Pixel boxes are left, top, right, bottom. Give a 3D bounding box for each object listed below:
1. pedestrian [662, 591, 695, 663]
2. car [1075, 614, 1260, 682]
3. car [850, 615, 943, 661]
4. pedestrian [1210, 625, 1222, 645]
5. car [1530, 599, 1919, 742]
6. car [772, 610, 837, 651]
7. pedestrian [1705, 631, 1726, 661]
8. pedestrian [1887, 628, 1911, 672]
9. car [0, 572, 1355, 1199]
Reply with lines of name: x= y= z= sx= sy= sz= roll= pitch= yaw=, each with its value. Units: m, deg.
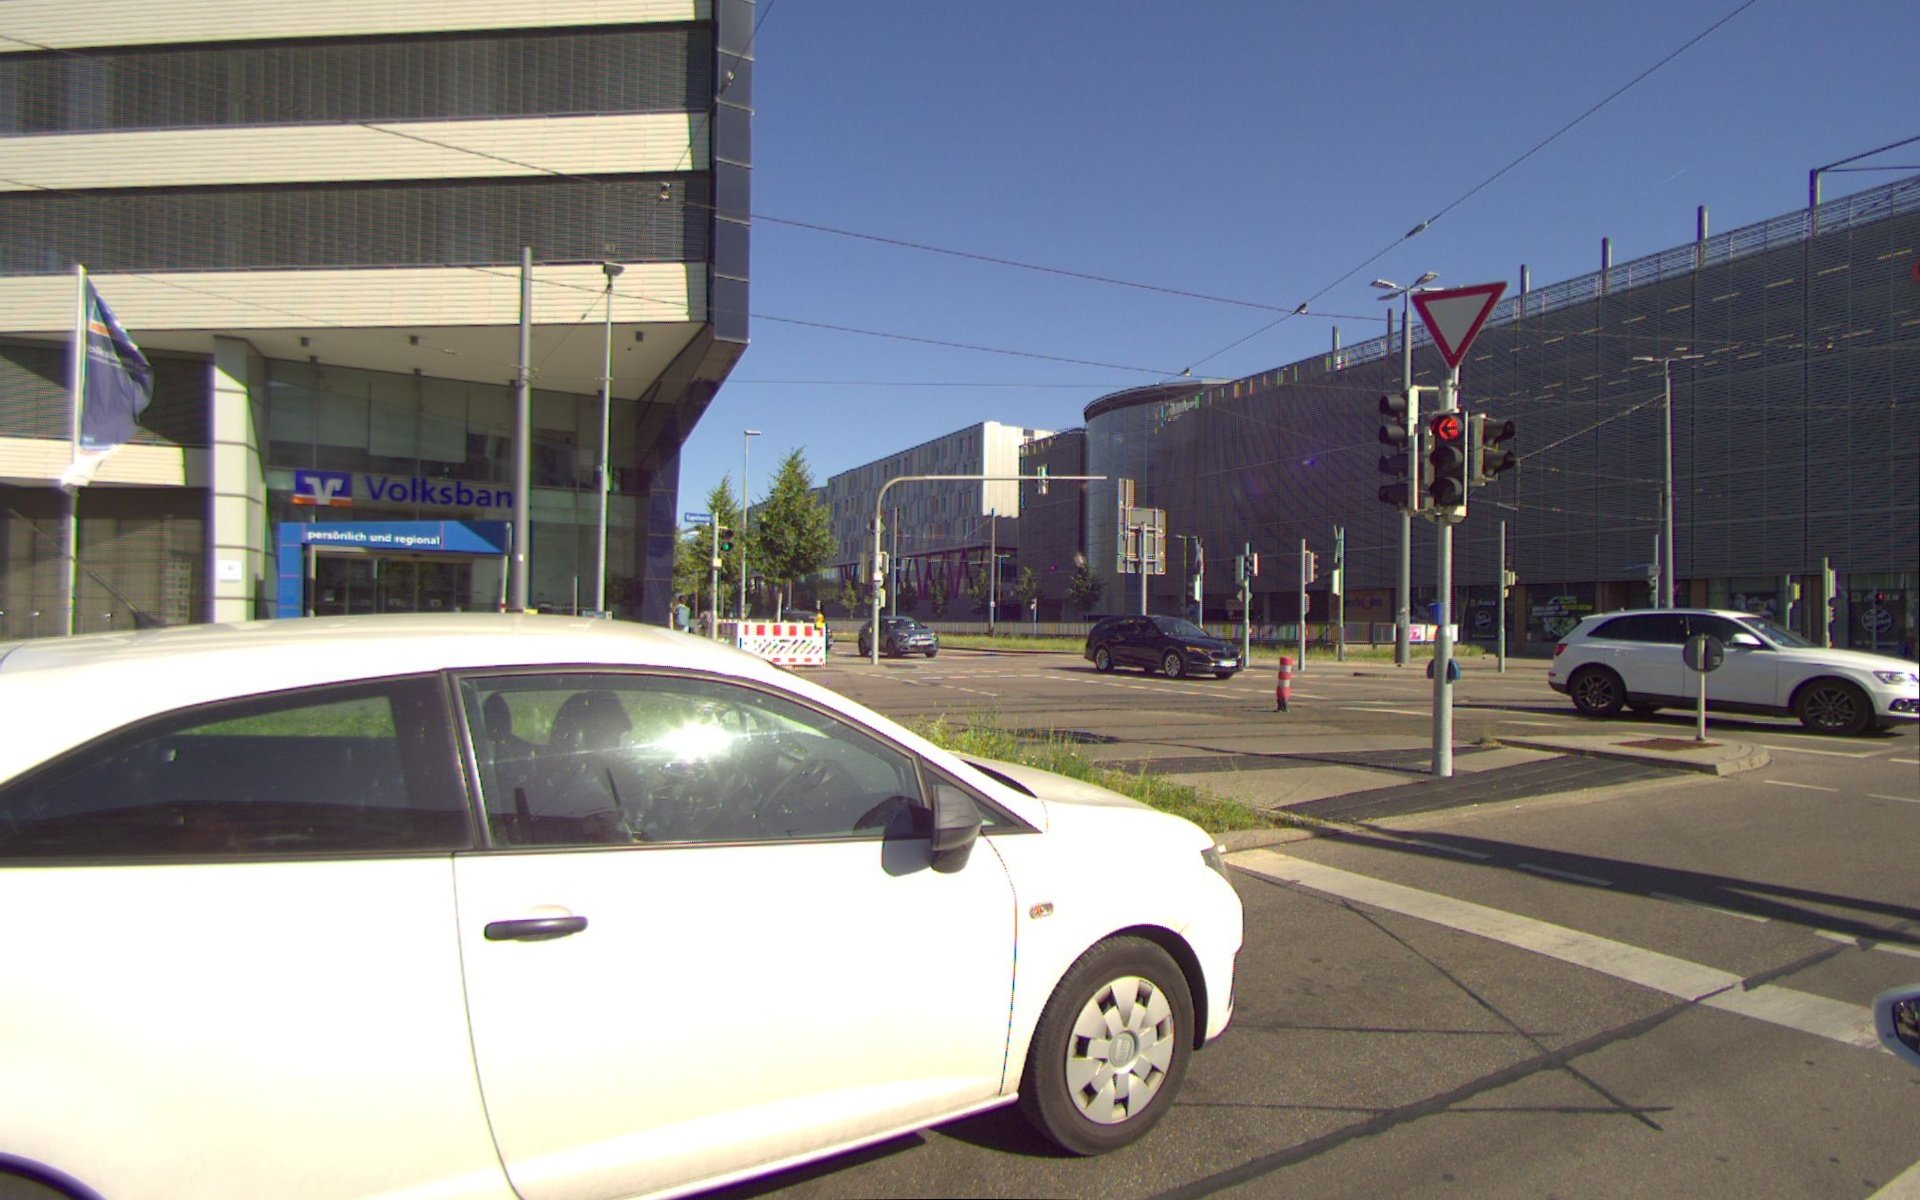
pedestrian: x=-6.905 y=0.671 z=24.637 sx=0.729 sy=1.719 sz=0.805 roll=0 pitch=-2 yaw=-20
car: x=4.945 y=1.098 z=24.583 sx=1.812 sy=1.481 sz=4.645 roll=1 pitch=-1 yaw=-31
car: x=-2.427 y=1.376 z=37.452 sx=1.690 sy=1.534 sz=4.241 roll=1 pitch=0 yaw=-32
pedestrian: x=21.209 y=2.873 z=83.143 sx=0.642 sy=1.622 sz=0.658 roll=2 pitch=0 yaw=-24
car: x=11.157 y=0.913 z=14.607 sx=1.917 sy=1.729 sz=4.641 roll=1 pitch=-2 yaw=-33
car: x=-7.361 y=1.411 z=47.245 sx=1.688 sy=1.815 sz=4.440 roll=1 pitch=-1 yaw=-28
pedestrian: x=41.431 y=2.534 z=55.095 sx=0.584 sy=1.622 sz=0.661 roll=2 pitch=0 yaw=-11
pedestrian: x=39.967 y=2.115 z=42.732 sx=0.687 sy=1.821 sz=0.726 roll=-2 pitch=-3 yaw=44
car: x=-0.955 y=0.737 z=2.790 sx=3.977 sy=1.460 sz=1.723 roll=2 pitch=1 yaw=-31
